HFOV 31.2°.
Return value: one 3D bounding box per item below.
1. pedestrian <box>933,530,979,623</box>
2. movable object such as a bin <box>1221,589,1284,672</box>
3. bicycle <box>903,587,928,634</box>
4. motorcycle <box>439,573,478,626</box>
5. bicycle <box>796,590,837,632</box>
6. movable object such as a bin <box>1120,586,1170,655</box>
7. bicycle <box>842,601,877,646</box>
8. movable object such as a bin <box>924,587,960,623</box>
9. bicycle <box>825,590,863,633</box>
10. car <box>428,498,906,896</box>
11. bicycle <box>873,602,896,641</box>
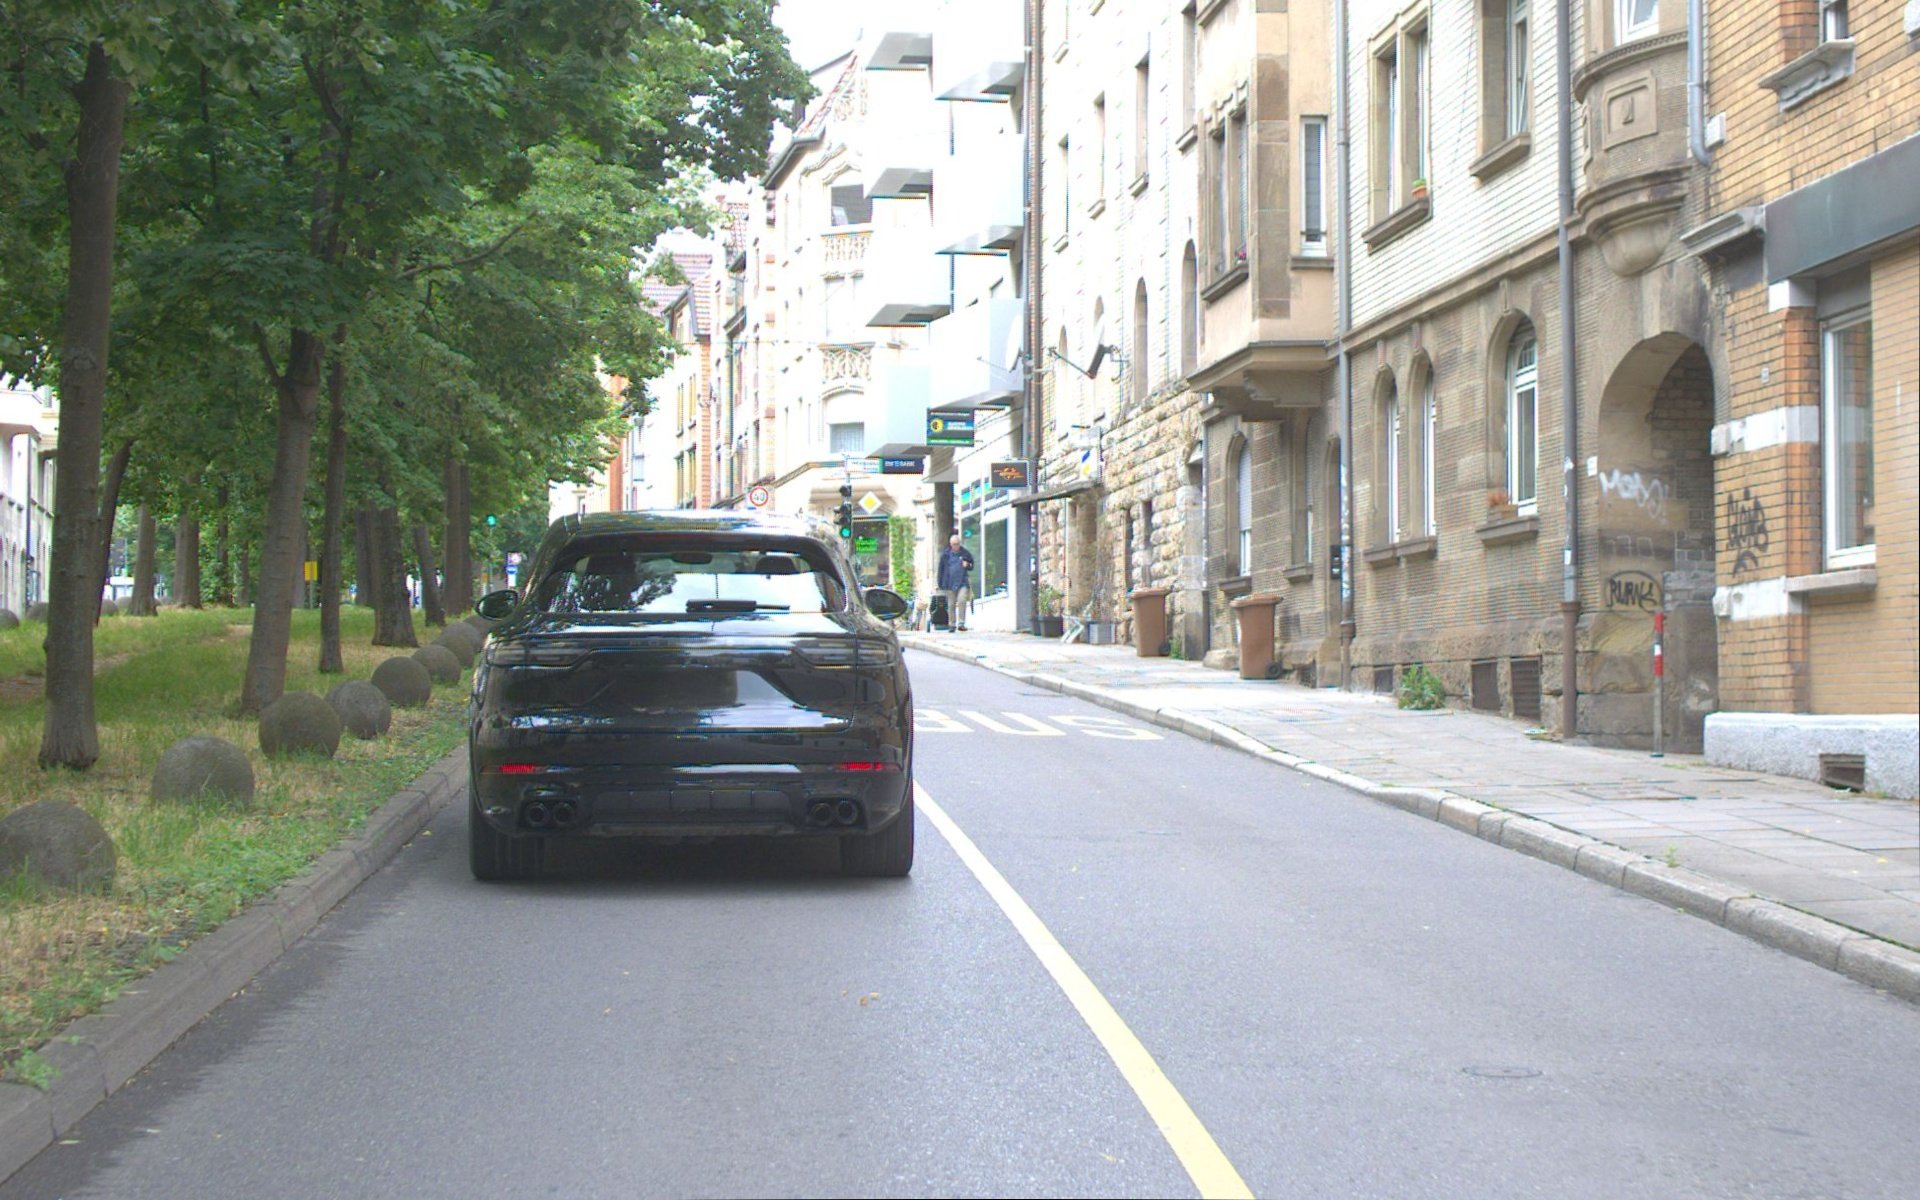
[{"bbox_3d":[-0.077,-0.423,63.408,0.751,1.687,0.858,0,-1,-5],"label":"pedestrian"},{"bbox_3d":[3.244,0.333,38.189,0.594,0.901,0.563,1,0,-5],"label":"movable object such as a bin"},{"bbox_3d":[-1.249,0.282,95.962,0.446,1.157,1.835,0,4,-9],"label":"bicycle"},{"bbox_3d":[-14.212,-0.010,97.478,1.019,1.441,2.247,-1,-1,-7],"label":"motorcycle"},{"bbox_3d":[-4.093,0.326,97.768,0.879,1.125,2.980,1,-1,-7],"label":"bicycle"},{"bbox_3d":[2.508,0.278,46.640,0.594,0.901,0.503,1,-3,-5],"label":"movable object such as a bin"},{"bbox_3d":[-2.117,0.505,72.450,0.569,0.928,1.775,1,-1,-7],"label":"bicycle"},{"bbox_3d":[-0.342,0.101,64.240,0.607,0.666,0.858,0,-1,-5],"label":"movable object such as a bin"},{"bbox_3d":[-2.543,0.258,75.238,0.286,0.928,1.761,1,-1,-20],"label":"bicycle"},{"bbox_3d":[-1.291,0.389,16.395,1.993,1.660,4.000,0,0,-2],"label":"car"},{"bbox_3d":[-2.117,0.587,96.197,0.348,1.055,1.834,3,0,-9],"label":"bicycle"}]
